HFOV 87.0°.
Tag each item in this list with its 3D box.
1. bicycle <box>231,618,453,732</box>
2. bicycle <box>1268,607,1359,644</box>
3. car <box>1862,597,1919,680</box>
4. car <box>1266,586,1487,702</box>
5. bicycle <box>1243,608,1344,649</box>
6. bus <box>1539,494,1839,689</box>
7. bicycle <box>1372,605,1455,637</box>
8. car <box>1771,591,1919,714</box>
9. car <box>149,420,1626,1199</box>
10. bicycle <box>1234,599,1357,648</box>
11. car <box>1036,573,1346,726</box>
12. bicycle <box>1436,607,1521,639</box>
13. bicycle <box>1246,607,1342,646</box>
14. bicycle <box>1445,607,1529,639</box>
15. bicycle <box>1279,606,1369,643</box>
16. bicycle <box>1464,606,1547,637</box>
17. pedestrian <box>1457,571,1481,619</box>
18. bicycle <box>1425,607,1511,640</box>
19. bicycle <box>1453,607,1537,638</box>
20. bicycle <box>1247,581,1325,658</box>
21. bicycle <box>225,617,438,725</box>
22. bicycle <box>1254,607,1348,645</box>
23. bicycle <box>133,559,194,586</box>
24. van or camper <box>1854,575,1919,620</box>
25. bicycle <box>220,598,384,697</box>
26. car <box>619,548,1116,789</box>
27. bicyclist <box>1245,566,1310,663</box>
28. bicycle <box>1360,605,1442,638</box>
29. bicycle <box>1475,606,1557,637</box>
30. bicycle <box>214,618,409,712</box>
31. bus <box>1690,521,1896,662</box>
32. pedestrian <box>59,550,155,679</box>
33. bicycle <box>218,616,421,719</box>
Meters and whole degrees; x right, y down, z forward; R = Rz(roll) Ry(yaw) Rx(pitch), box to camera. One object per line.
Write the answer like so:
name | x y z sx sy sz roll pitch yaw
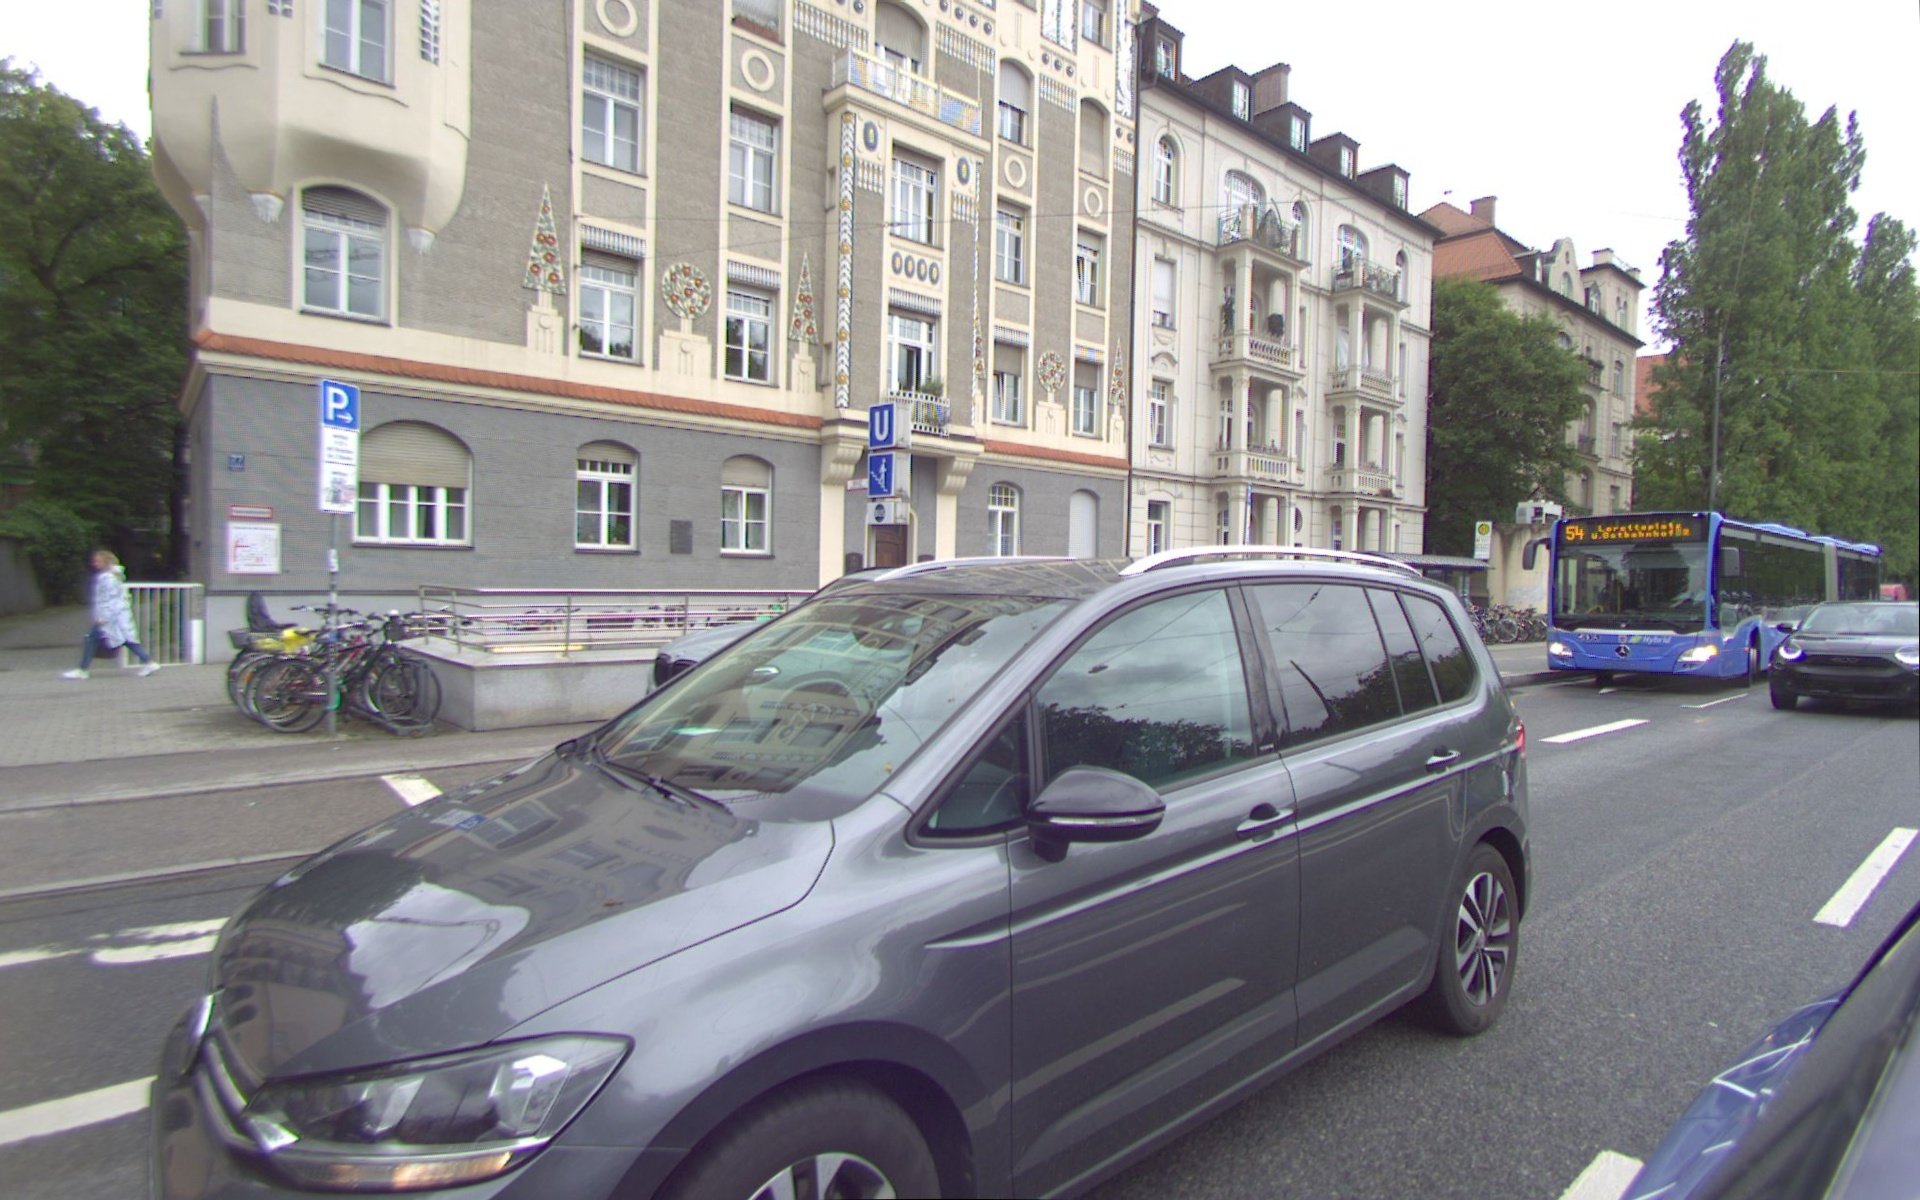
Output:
bicycle | -5.982 0.705 9.875 1.801 1.036 0.447 0 1 -14
bicycle | 9.554 0.674 27.444 0.629 0.932 2.319 0 1 -43
car | 18.435 0.668 19.013 4.171 1.451 1.702 0 -1 -41
car | 6.503 0.582 15.644 3.678 1.527 1.729 0 2 -42
bicycle | 8.209 0.689 24.990 2.307 0.932 0.580 1 1 33
bus | 14.461 -0.145 19.662 9.300 3.011 2.635 0 0 -41
bicycle | 14.220 0.636 31.795 0.590 0.932 2.319 0 1 -43
car | 12.969 0.653 14.230 3.901 1.523 1.778 0 -1 -41
car | 0.343 0.603 3.280 4.624 1.667 1.775 0 1 -40
bicycle | 8.463 0.571 25.627 2.899 1.162 0.633 1 1 33
car | 2.967 0.504 12.631 3.895 1.596 1.730 0 2 -39
bicycle | 16.284 0.711 31.836 0.590 0.932 2.319 0 1 -43
bicycle | 8.660 0.682 26.285 2.307 0.932 0.580 1 1 33
bicycle | 16.740 0.708 32.197 0.590 0.932 2.319 0 1 -43
bicycle | 10.035 0.670 27.953 0.629 0.932 2.319 0 1 -43
bicycle | 17.775 0.700 33.035 0.590 0.932 2.319 0 1 -43
pedestrian | 20.632 -0.211 41.003 0.661 1.919 0.609 0 2 -39
bicycle | 15.736 0.715 31.388 0.590 0.932 2.319 0 1 -43
bicycle | 17.207 0.704 32.587 0.590 0.932 2.319 0 1 -43
bicycle | 5.747 0.318 17.798 1.747 1.304 0.424 0 2 -40
bicycle | -6.389 0.705 10.359 1.801 1.036 0.447 0 1 -14
bicycle | 9.053 0.678 26.951 2.312 0.932 0.579 1 1 38
bicycle | -35.245 -1.204 44.801 2.090 1.137 0.816 0 2 -41
van or camper | 46.803 -0.159 50.904 5.419 2.125 2.122 0 2 -42
bicycle | -8.143 0.569 12.536 1.855 1.168 0.464 0 1 8
car | -0.668 0.445 9.436 4.425 1.680 1.736 -1 4 -42
bicyclist | 5.552 0.232 17.692 0.923 1.623 0.681 0 2 -41
bicycle | 13.636 0.641 31.351 0.590 0.932 2.319 0 1 -43
bicycle | 18.451 0.695 33.614 0.590 0.932 2.319 0 1 -43
bicycle | -7.201 0.706 11.299 1.801 0.990 0.393 0 1 -14
bus | 21.150 -0.200 25.478 8.384 3.012 2.635 0 0 -41
pedestrian | -11.898 0.178 14.131 0.999 1.735 0.747 0 2 -41
bicycle | -6.823 0.706 10.844 1.801 1.036 0.393 0 1 -14
